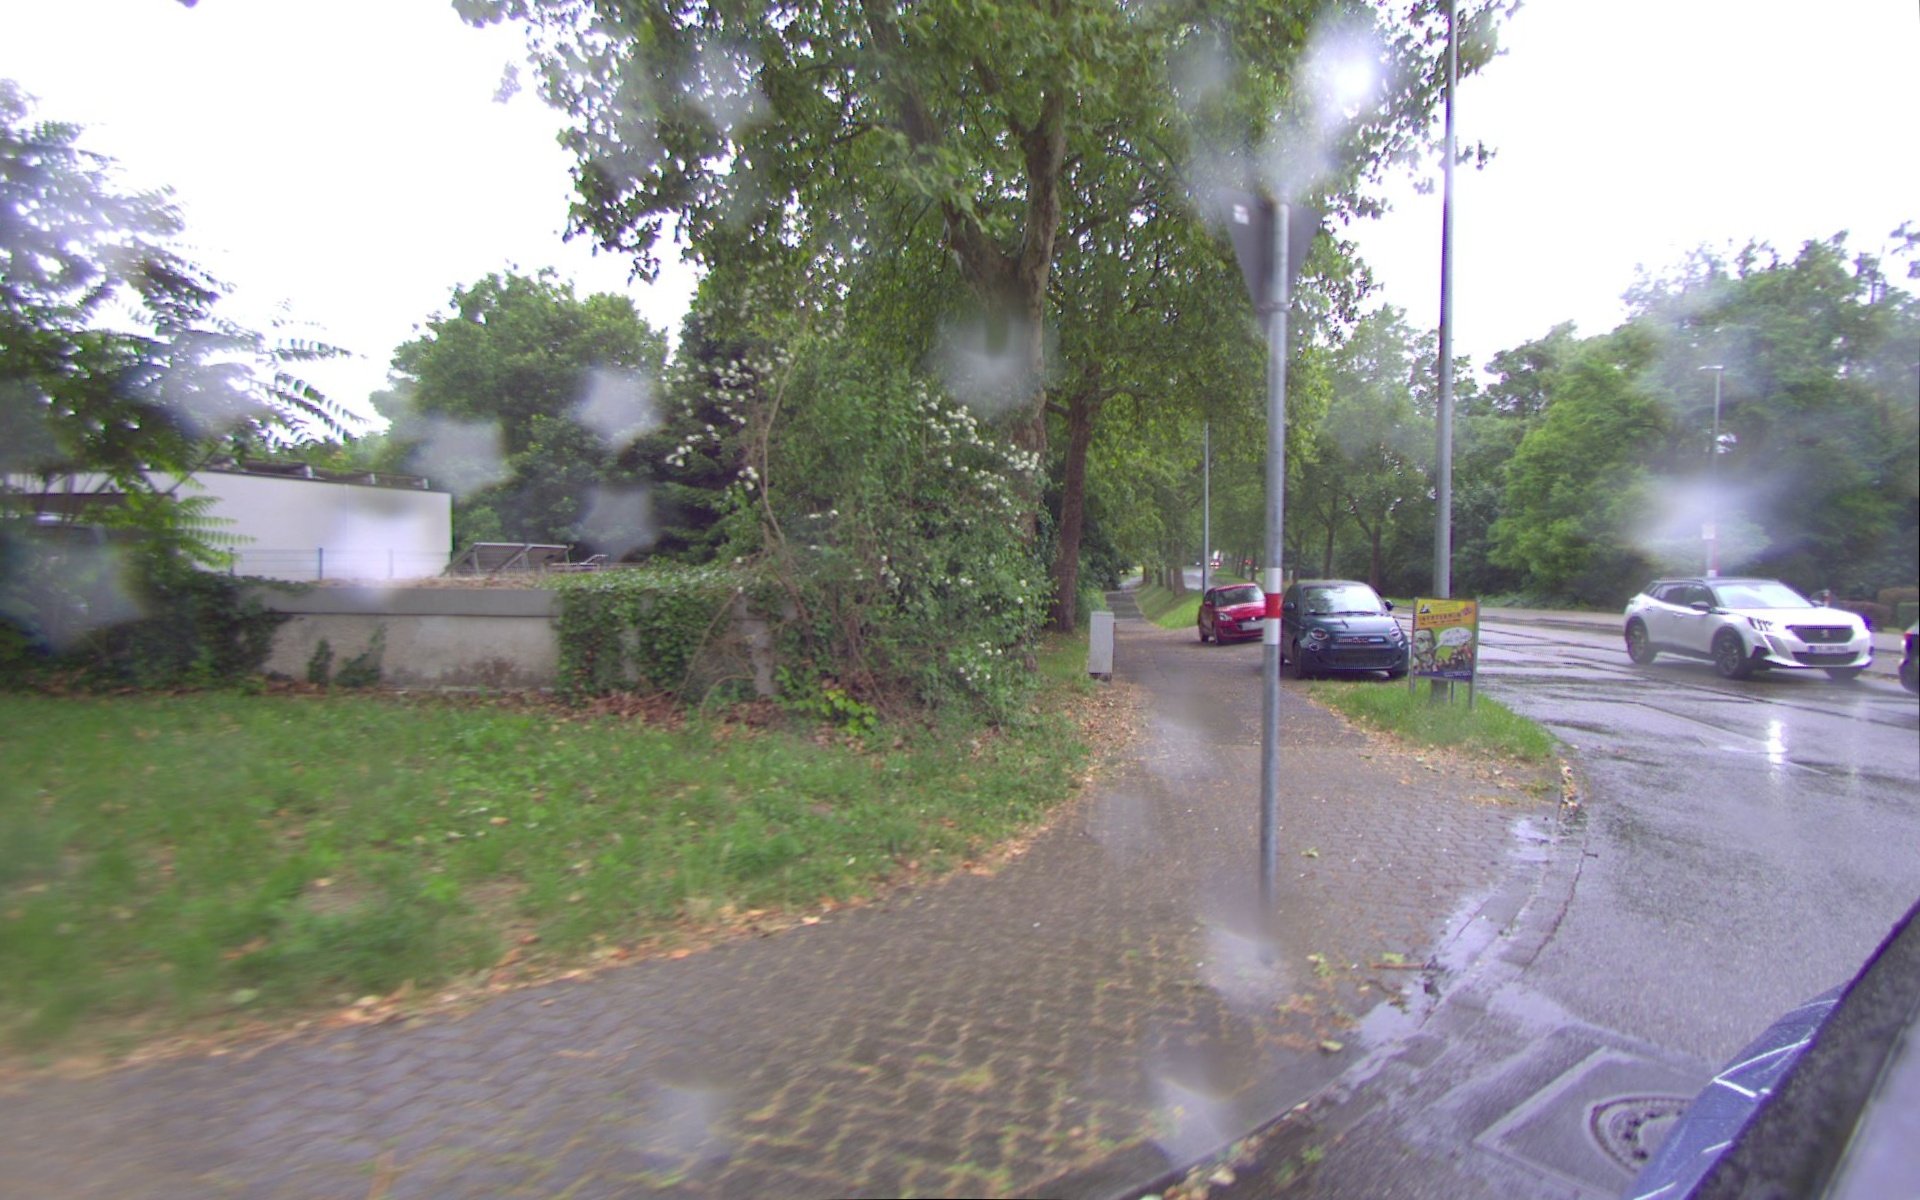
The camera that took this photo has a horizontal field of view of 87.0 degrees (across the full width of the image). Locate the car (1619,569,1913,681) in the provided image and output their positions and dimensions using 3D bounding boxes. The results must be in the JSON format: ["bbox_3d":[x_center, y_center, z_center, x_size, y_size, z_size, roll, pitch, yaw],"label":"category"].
[{"bbox_3d":[12.884,0.282,16.600,1.729,1.555,4.359,1,2,8],"label":"car"}]

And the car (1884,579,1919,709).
[{"bbox_3d":[11.589,0.495,9.576,1.806,1.475,4.649,-2,0,8],"label":"car"}]

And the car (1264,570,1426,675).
[{"bbox_3d":[6.317,0.297,17.011,1.726,1.510,3.593,-2,2,8],"label":"car"}]

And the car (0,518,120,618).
[{"bbox_3d":[-14.973,-0.508,15.277,1.467,1.489,3.423,2,3,9],"label":"car"}]

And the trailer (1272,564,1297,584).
[{"bbox_3d":[47.188,-3.842,147.242,2.765,2.695,6.629,2,3,13],"label":"trailer"}]

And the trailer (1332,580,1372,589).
[{"bbox_3d":[49.338,-1.965,127.542,4.262,1.045,2.376,2,3,11],"label":"trailer"}]

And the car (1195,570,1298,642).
[{"bbox_3d":[7.349,0.136,26.312,1.794,1.536,3.737,-7,-1,6],"label":"car"}]
